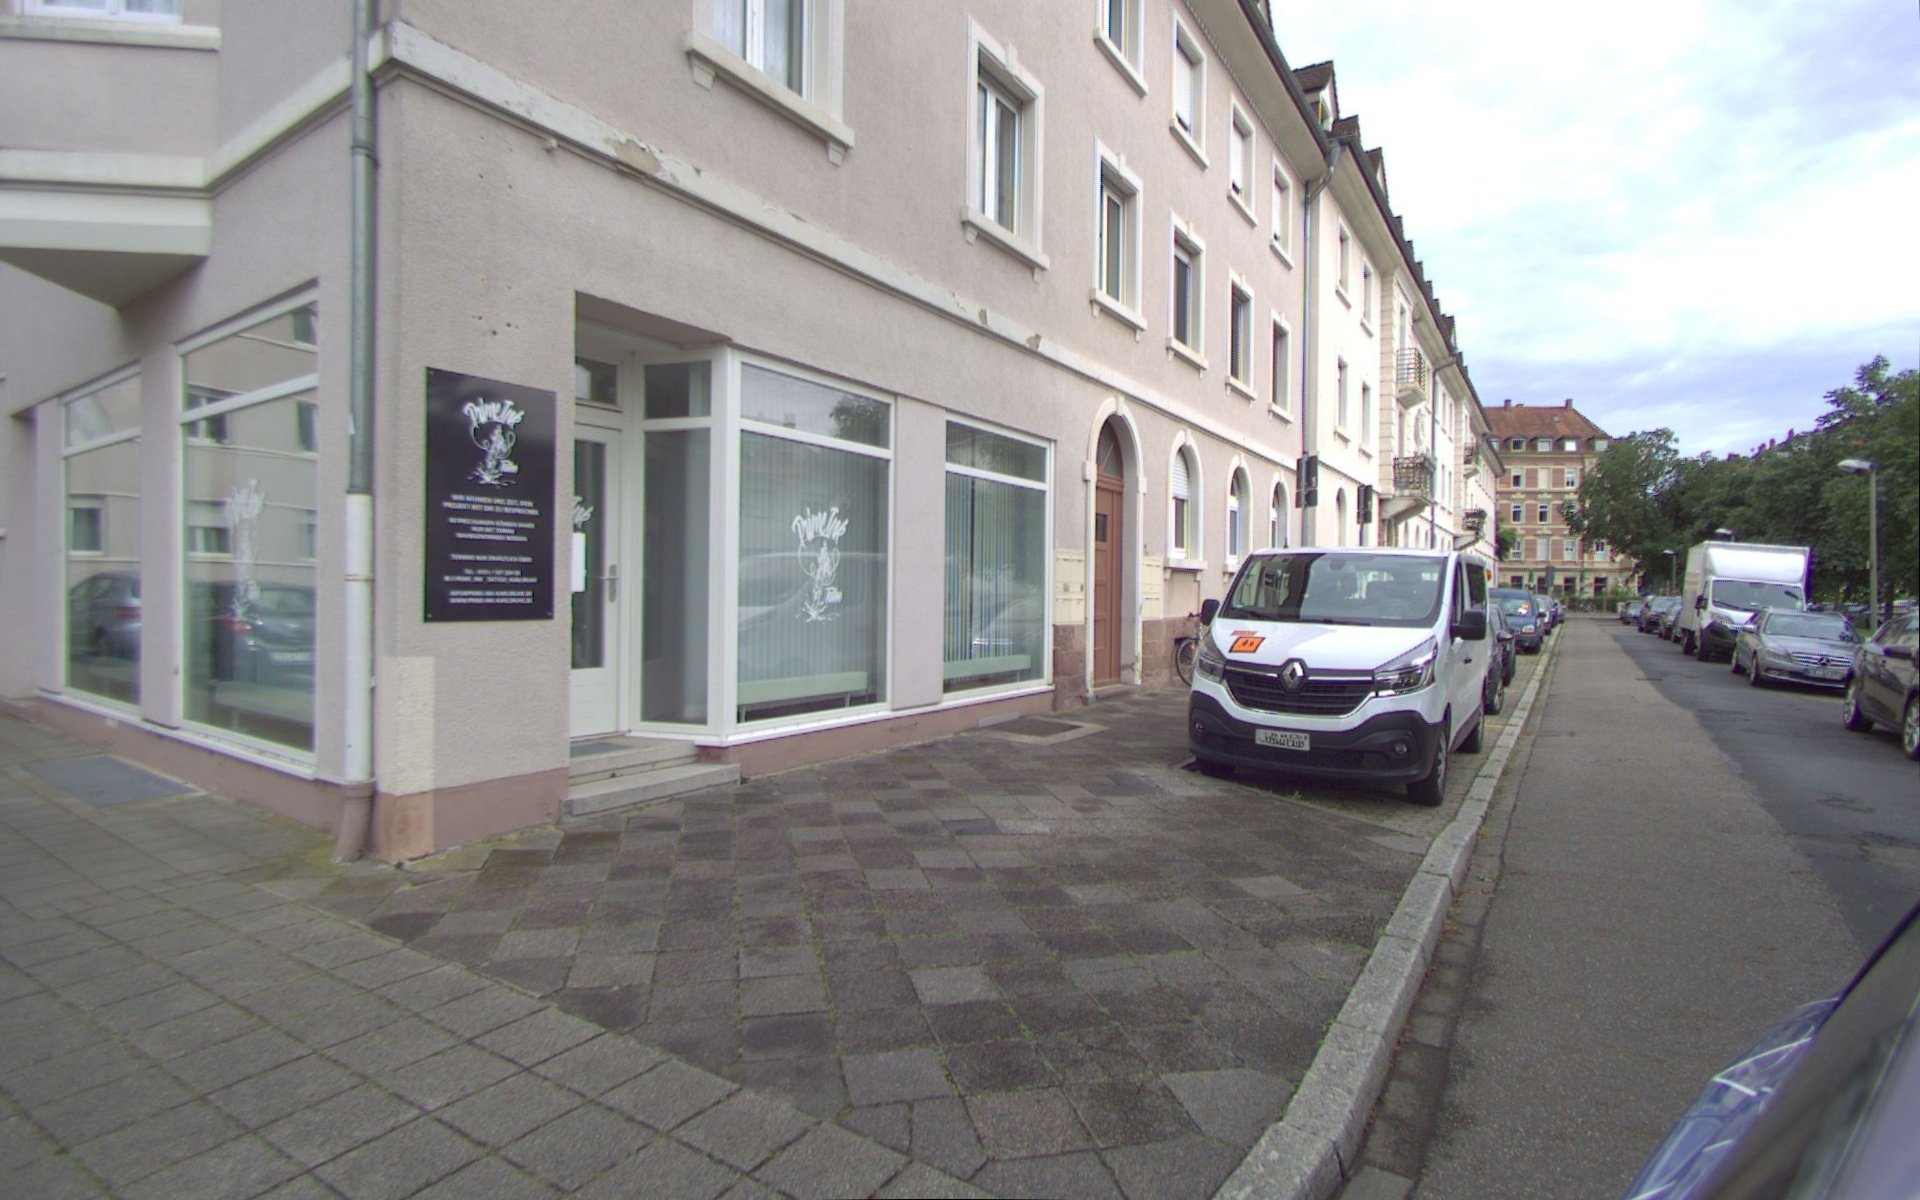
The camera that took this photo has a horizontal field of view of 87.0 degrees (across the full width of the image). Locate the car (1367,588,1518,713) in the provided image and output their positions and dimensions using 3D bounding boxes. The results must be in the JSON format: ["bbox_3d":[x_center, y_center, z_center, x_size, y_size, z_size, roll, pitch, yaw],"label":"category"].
[{"bbox_3d":[7.057,0.620,14.655,1.678,1.472,3.862,3,2,28],"label":"car"}]

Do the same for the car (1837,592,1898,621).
[{"bbox_3d":[53.440,0.376,59.649,1.955,1.660,3.961,-1,0,32],"label":"car"}]

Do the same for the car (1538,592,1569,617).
[{"bbox_3d":[36.319,0.253,61.902,1.446,1.413,3.964,5,2,32],"label":"car"}]

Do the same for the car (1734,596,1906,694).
[{"bbox_3d":[16.072,0.746,19.149,1.704,1.475,4.397,6,3,32],"label":"car"}]

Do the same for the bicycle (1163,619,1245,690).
[{"bbox_3d":[3.573,0.755,14.708,0.446,0.903,2.145,2,1,33],"label":"bicycle"}]

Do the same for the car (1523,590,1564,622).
[{"bbox_3d":[29.604,0.283,51.328,1.599,1.417,3.964,5,2,32],"label":"car"}]

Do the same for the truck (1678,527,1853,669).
[{"bbox_3d":[20.436,-0.085,26.079,2.429,2.992,7.031,6,3,31],"label":"truck"}]

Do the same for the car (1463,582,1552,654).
[{"bbox_3d":[15.628,0.457,28.792,1.930,1.807,4.138,3,2,32],"label":"car"}]

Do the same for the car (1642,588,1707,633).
[{"bbox_3d":[31.059,0.437,44.070,1.771,1.728,4.270,5,2,29],"label":"car"}]

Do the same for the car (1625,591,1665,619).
[{"bbox_3d":[41.063,0.252,60.741,1.630,1.599,4.165,1,1,30],"label":"car"}]

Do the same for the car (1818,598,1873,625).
[{"bbox_3d":[56.523,0.683,64.669,1.955,1.660,3.961,-1,0,32],"label":"car"}]

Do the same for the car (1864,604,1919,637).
[{"bbox_3d":[49.801,1.037,53.773,1.955,1.660,3.961,-1,0,32],"label":"car"}]

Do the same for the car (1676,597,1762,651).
[{"bbox_3d":[24.746,0.744,33.124,1.631,1.532,4.108,5,2,29],"label":"car"}]

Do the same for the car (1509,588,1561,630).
[{"bbox_3d":[23.984,0.356,42.167,1.675,1.532,3.909,5,2,32],"label":"car"}]

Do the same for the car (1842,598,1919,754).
[{"bbox_3d":[10.476,0.800,10.132,1.704,1.475,4.115,6,3,32],"label":"car"}]

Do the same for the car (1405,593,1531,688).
[{"bbox_3d":[9.667,0.666,19.078,1.681,1.472,4.493,4,2,32],"label":"car"}]

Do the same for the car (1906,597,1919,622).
[{"bbox_3d":[65.584,0.622,68.183,1.955,1.660,3.961,-1,0,32],"label":"car"}]

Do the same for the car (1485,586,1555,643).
[{"bbox_3d":[18.609,0.443,33.557,1.763,1.657,4.081,5,2,32],"label":"car"}]

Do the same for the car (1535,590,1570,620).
[{"bbox_3d":[33.400,0.261,57.000,1.598,1.605,3.965,1,1,32],"label":"car"}]

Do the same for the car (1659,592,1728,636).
[{"bbox_3d":[27.315,0.474,37.795,1.630,1.533,4.108,1,1,30],"label":"car"}]

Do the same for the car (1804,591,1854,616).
[{"bbox_3d":[59.150,0.244,68.937,1.955,1.660,3.961,-1,0,32],"label":"car"}]

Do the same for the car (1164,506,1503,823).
[{"bbox_3d":[3.618,0.379,9.077,1.870,2.021,4.955,2,1,32],"label":"car"}]
